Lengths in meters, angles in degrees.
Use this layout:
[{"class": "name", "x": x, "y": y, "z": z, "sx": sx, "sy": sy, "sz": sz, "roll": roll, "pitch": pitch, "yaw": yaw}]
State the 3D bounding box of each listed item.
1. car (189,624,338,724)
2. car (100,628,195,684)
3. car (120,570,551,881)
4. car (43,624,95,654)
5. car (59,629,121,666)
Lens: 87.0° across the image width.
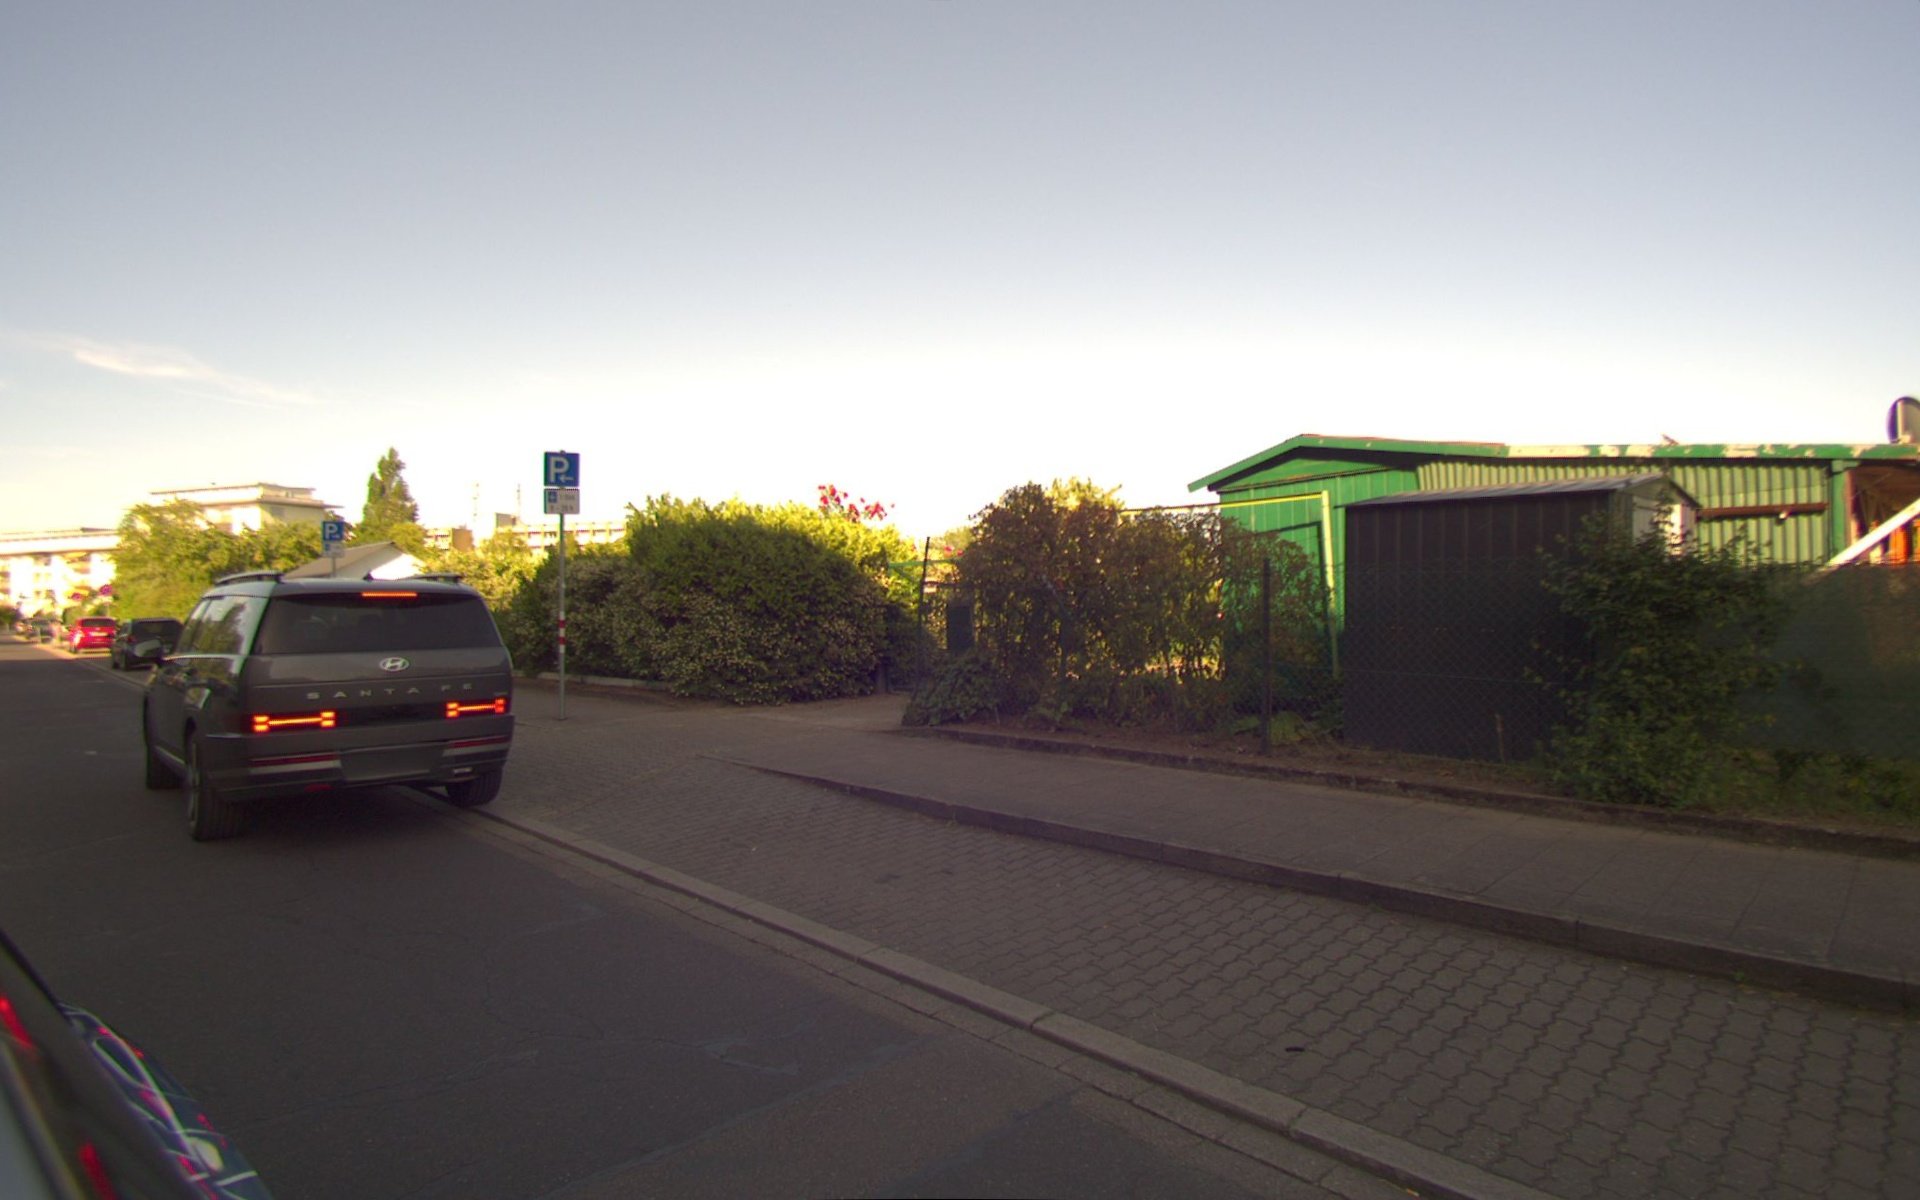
[{"class": "car", "x": -11.878, "y": 1.174, "z": 17.183, "sx": 1.510, "sy": 1.499, "sz": 3.404, "roll": 0, "pitch": -1, "yaw": -45}, {"class": "car", "x": -24.008, "y": 1.594, "z": 29.853, "sx": 1.676, "sy": 1.434, "sz": 4.519, "roll": -3, "pitch": 1, "yaw": -45}, {"class": "car", "x": -5.229, "y": 0.791, "z": 8.115, "sx": 1.920, "sy": 1.740, "sz": 4.842, "roll": 3, "pitch": -3, "yaw": -44}, {"class": "car", "x": -43.759, "y": 1.888, "z": 49.660, "sx": 1.676, "sy": 1.380, "sz": 3.913, "roll": 1, "pitch": -2, "yaw": -45}, {"class": "car", "x": -36.741, "y": 1.974, "z": 42.702, "sx": 1.676, "sy": 1.440, "sz": 4.388, "roll": 1, "pitch": -2, "yaw": -45}]
